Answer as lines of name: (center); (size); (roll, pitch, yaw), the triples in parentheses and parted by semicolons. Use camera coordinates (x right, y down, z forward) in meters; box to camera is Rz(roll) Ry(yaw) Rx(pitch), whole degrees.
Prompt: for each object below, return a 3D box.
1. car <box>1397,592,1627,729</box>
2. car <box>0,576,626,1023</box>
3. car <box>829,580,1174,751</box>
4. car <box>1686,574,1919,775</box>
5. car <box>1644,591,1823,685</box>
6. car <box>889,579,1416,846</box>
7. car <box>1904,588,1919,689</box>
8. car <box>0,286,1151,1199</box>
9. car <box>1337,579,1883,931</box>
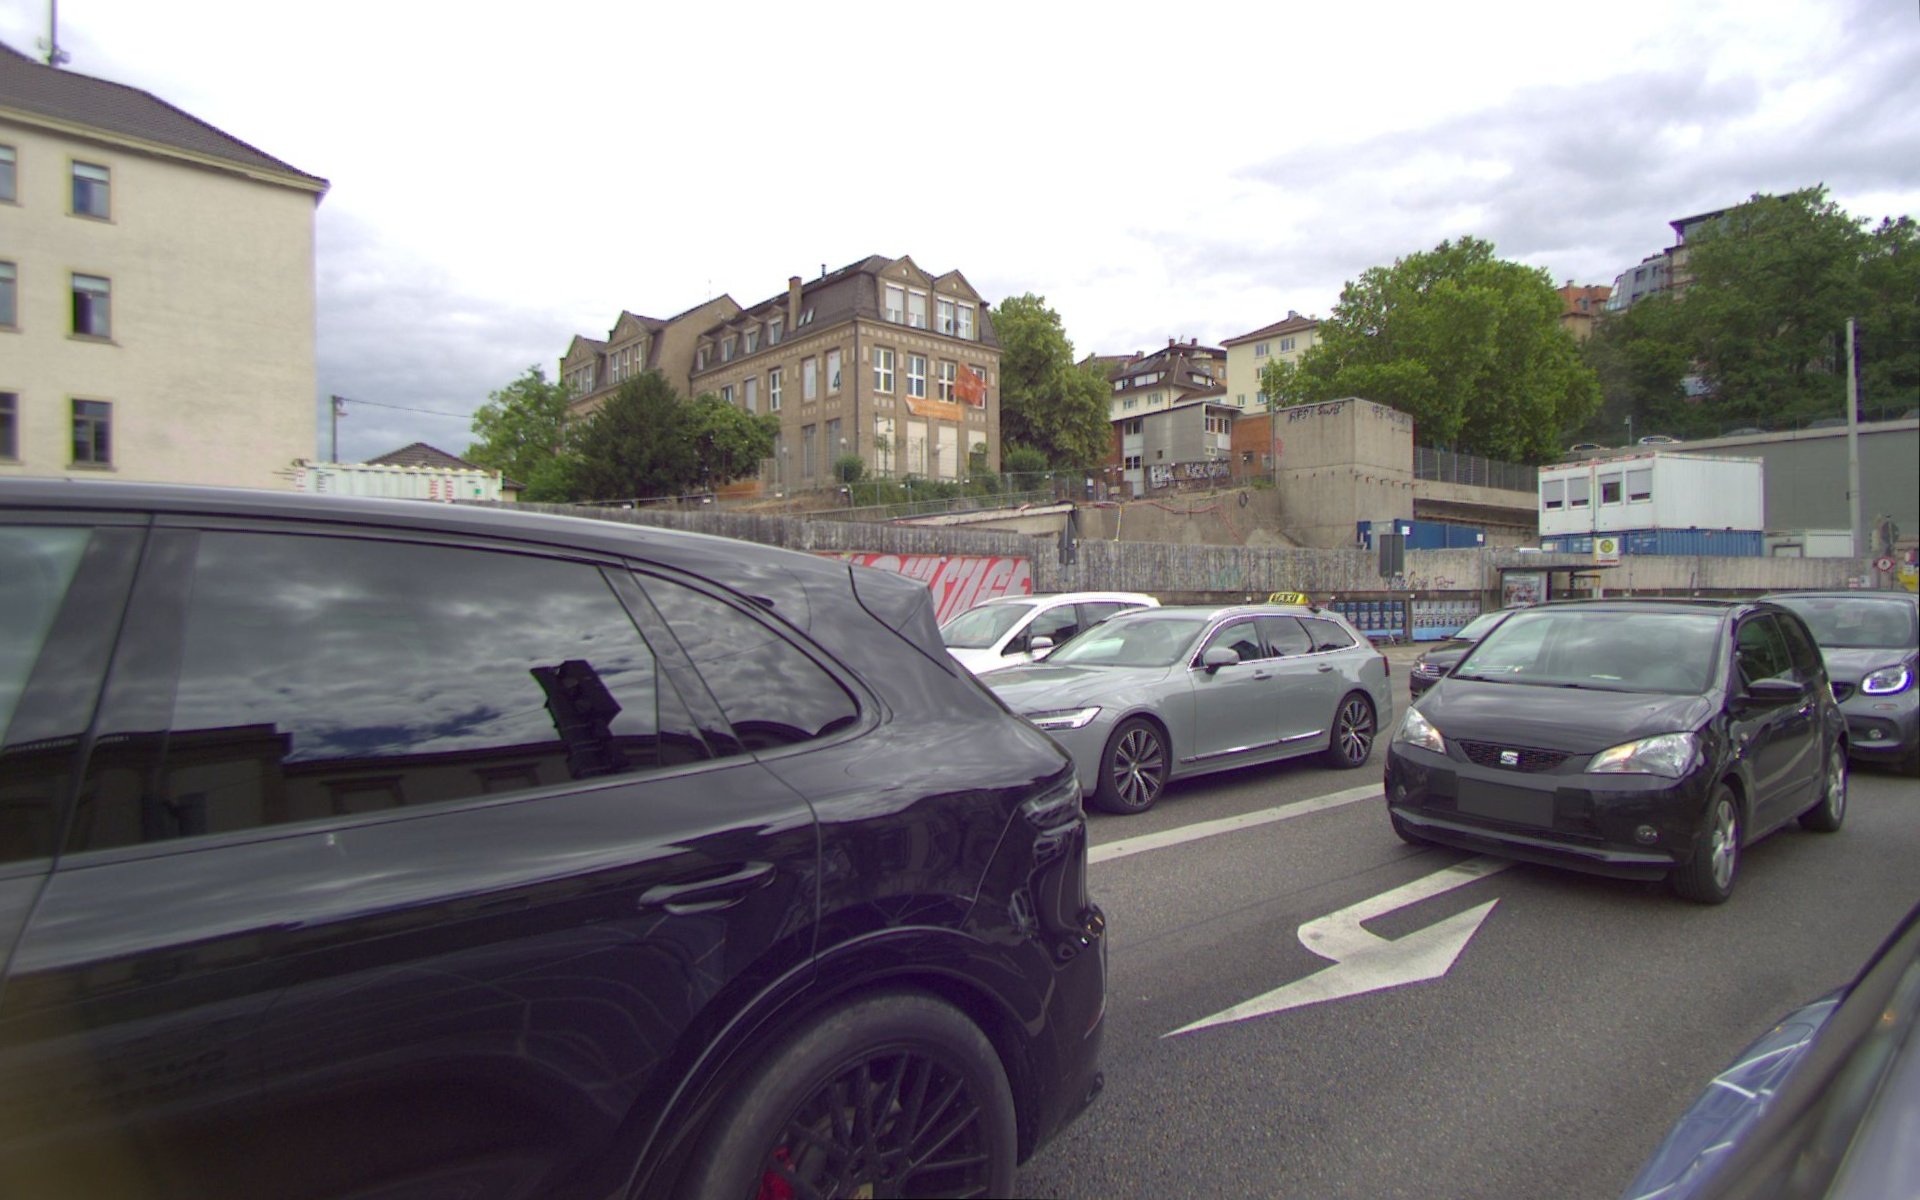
car: (6.868, 0.647, 12.549); (2.666, 1.449, 1.664); (-1, 1, -40)
car: (-3.782, 0.728, 4.654); (3.930, 1.645, 1.679); (-1, 1, -40)
car: (0.638, 0.622, 11.862); (1.676, 1.646, 4.142); (-3, -1, 44)
car: (8.405, 0.563, 9.517); (3.510, 1.563, 1.720); (0, 0, -39)
car: (13.293, 0.565, 17.331); (3.740, 1.383, 1.679); (-1, 1, -40)
car: (1.846, 0.669, 8.575); (4.724, 1.645, 1.828); (-1, 1, -40)
car: (15.963, 0.542, 15.570); (3.740, 1.477, 1.679); (-1, 1, -40)
car: (-1.833, 0.536, 1.568); (4.406, 1.736, 1.828); (-1, 1, -40)
car: (4.095, 0.626, 6.173); (3.635, 1.476, 1.828); (-1, 1, -40)
